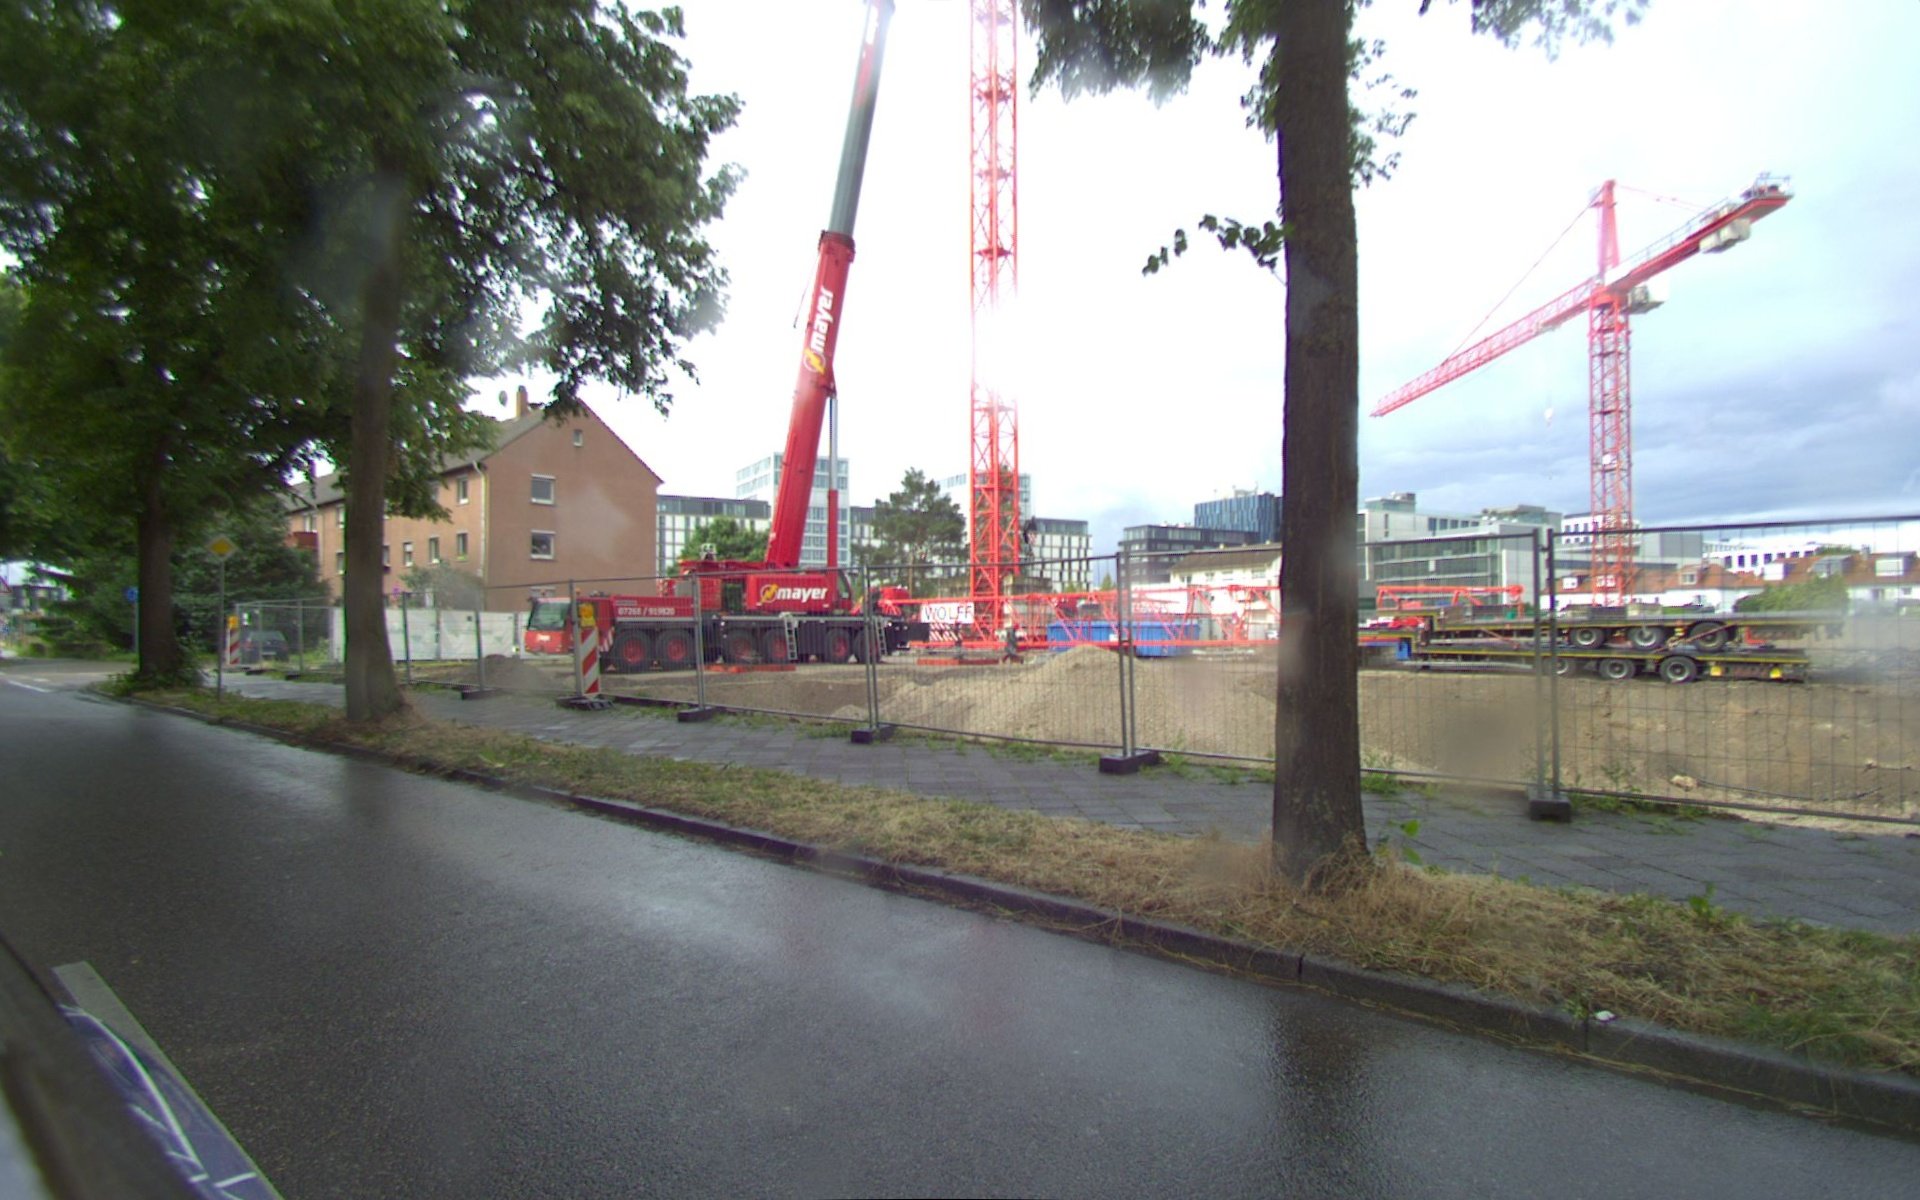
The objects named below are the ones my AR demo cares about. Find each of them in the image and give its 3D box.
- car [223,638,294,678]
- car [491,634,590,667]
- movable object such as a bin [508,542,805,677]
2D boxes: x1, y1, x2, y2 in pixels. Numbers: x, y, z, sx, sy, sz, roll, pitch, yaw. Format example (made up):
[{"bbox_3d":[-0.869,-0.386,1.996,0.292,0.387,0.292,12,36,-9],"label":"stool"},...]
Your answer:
[{"bbox_3d":[-29.246,2.392,42.179,3.869,1.431,1.607,0,0,42],"label":"car"},{"bbox_3d":[-19.211,2.277,46.494,1.721,1.424,4.026,-1,-2,29],"label":"car"},{"bbox_3d":[-10.398,0.386,35.839,3.366,4.147,9.704,-3,-3,43],"label":"movable object such as a bin"}]
